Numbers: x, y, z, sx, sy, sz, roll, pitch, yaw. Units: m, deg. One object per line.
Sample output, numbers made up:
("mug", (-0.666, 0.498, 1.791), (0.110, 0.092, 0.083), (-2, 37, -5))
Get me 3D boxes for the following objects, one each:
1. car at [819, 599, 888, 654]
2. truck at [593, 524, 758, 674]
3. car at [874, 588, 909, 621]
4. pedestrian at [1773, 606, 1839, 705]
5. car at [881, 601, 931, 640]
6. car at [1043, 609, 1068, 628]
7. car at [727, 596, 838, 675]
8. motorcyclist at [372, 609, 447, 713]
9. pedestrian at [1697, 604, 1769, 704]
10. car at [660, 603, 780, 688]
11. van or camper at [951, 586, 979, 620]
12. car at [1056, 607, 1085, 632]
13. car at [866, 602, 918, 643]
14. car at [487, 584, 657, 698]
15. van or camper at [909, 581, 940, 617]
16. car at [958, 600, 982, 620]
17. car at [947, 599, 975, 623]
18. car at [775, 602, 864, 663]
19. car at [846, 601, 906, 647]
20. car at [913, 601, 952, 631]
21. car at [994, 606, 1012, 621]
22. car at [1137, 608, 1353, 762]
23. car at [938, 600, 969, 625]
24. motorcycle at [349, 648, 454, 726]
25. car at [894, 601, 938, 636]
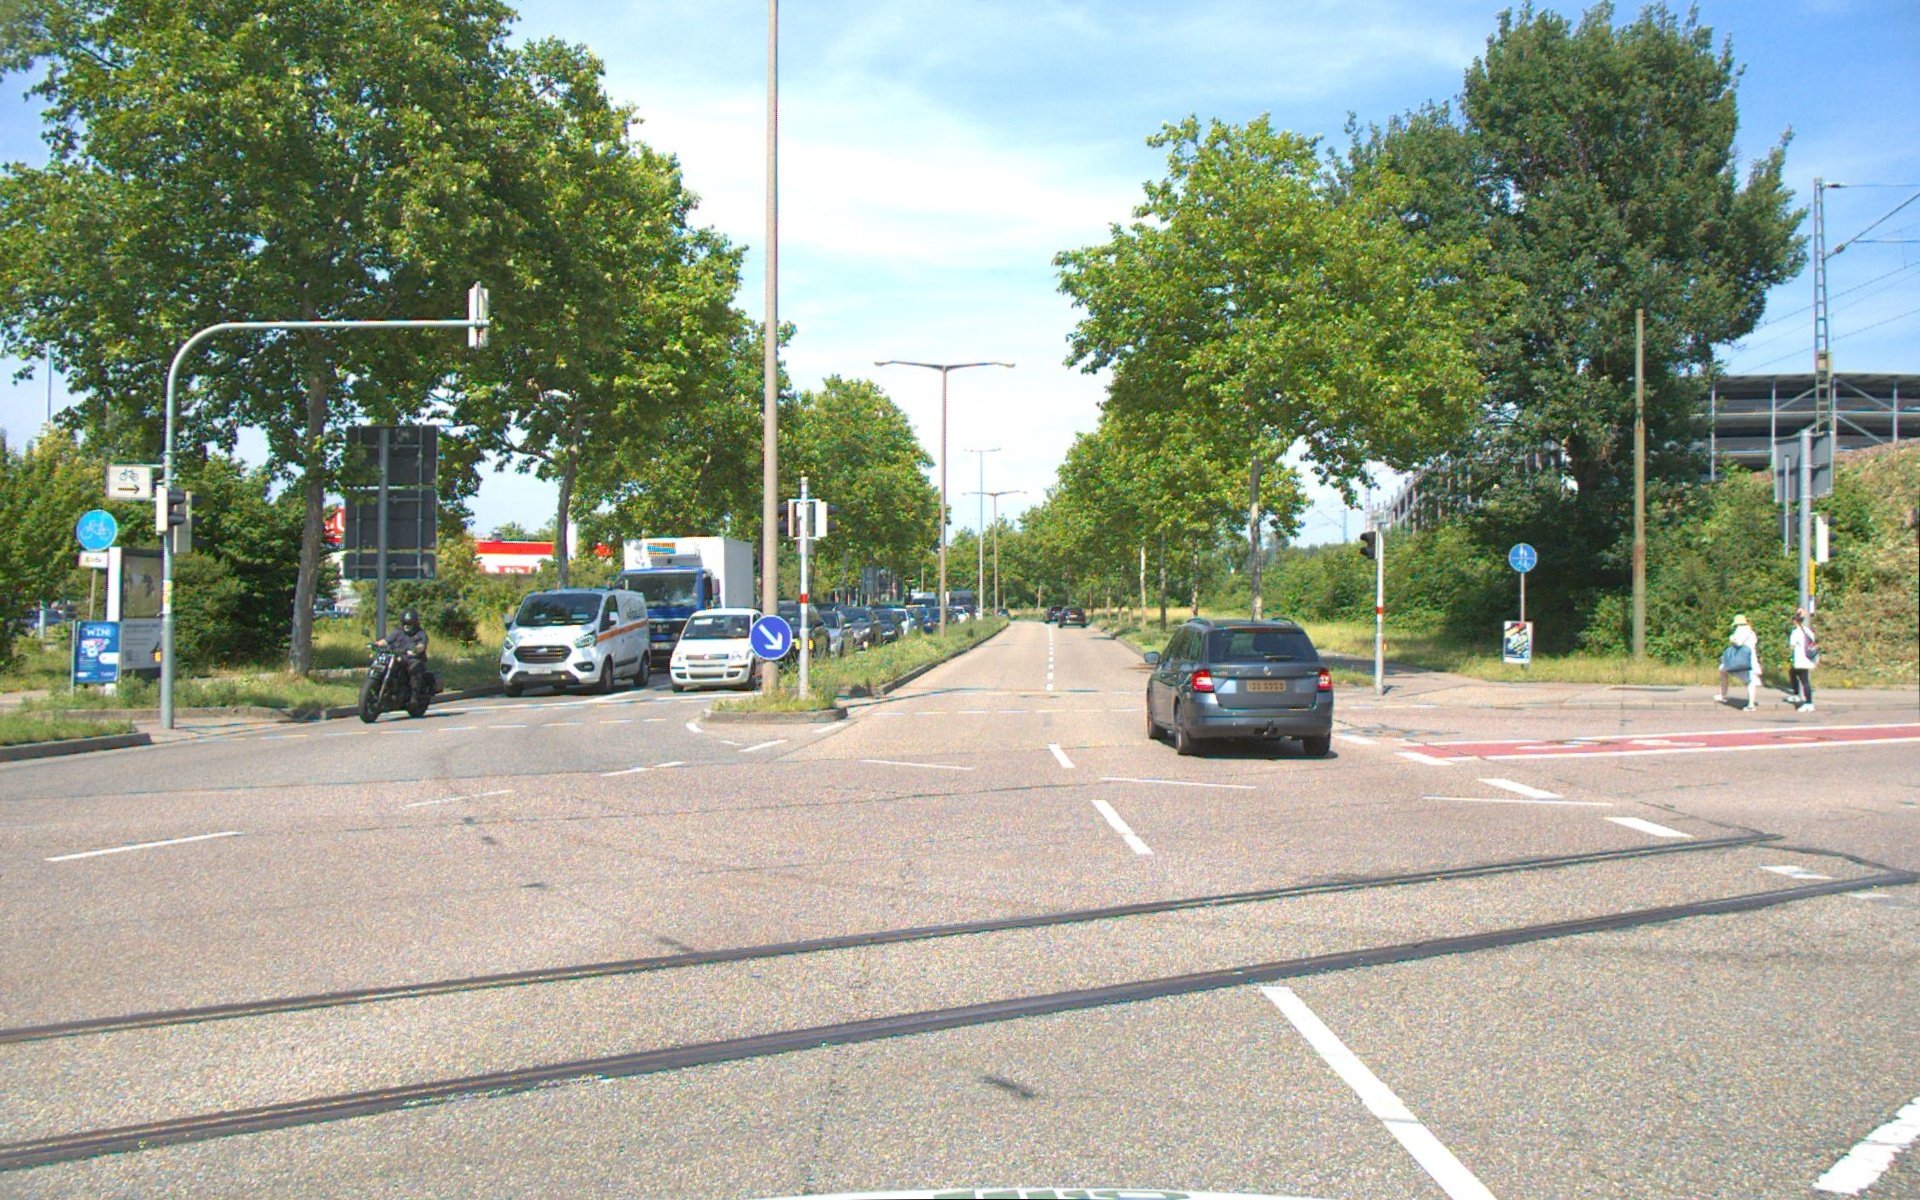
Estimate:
("car", (-3.267, 0.791, 51.426), (1.653, 1.614, 4.242), (-1, 0, 3))
("truck", (-7.257, -0.056, 43.163), (2.745, 3.532, 6.694), (-2, 0, 3))
("car", (-4.060, 0.285, 98.235), (1.653, 1.891, 4.038), (-1, 0, 3))
("pedestrian", (14.129, 0.915, 27.634), (0.714, 1.607, 0.778), (0, 0, 3))
("car", (-2.304, 0.853, 71.685), (1.721, 1.557, 4.830), (-1, 0, 3))
("car", (8.184, 1.609, 142.101), (1.869, 1.488, 4.582), (0, 1, 0))
("car", (-3.997, 0.795, 37.936), (1.782, 1.675, 4.695), (-1, -1, 3))
("motorcyclist", (-8.109, 0.884, 24.396), (0.727, 1.496, 0.988), (0, 0, 3))
("pedestrian", (12.912, 0.888, 27.658), (0.849, 1.640, 0.778), (0, 0, 3))
("car", (-4.567, 0.837, 31.914), (1.559, 1.503, 3.731), (-1, 0, 3))
("van or camper", (0.397, 0.257, 120.037), (1.898, 2.410, 5.399), (-1, -1, 1))
("car", (7.322, 1.288, 110.061), (1.868, 1.488, 4.624), (0, 1, 3))
("car", (-2.617, 0.835, 64.313), (1.653, 1.497, 3.816), (-1, 0, 3))
("car", (-7.426, 0.719, 32.223), (1.935, 2.034, 5.033), (0, 0, 2))
("van or camper", (-2.670, -0.072, 125.738), (1.973, 2.633, 5.519), (-1, 0, 3))
("car", (0.817, 0.785, 127.619), (1.653, 1.557, 3.816), (-1, -1, 3))
("car", (0.064, 0.727, 110.988), (1.653, 1.537, 3.816), (-1, 0, 3))
("car", (-3.733, 0.838, 44.696), (1.759, 1.493, 4.525), (-1, 0, 3))
("car", (-2.935, 0.807, 58.682), (1.653, 1.499, 4.220), (-2, 0, 3))
("car", (-1.379, 0.811, 85.690), (1.785, 1.491, 4.451), (-1, 0, 2))
("car", (4.730, 1.488, 181.618), (1.869, 1.488, 4.582), (0, 1, 0))
("car", (3.123, 0.881, 18.868), (1.640, 1.478, 4.035), (2, 0, -2))
("car", (-0.388, 0.761, 104.550), (1.746, 1.484, 4.474), (-1, 0, 3))
("motorcycle", (-8.125, 1.244, 24.170), (0.673, 1.008, 2.218), (0, 0, 3))
("car", (-2.022, 0.835, 77.000), (1.747, 1.515, 4.212), (-1, 0, 2))
